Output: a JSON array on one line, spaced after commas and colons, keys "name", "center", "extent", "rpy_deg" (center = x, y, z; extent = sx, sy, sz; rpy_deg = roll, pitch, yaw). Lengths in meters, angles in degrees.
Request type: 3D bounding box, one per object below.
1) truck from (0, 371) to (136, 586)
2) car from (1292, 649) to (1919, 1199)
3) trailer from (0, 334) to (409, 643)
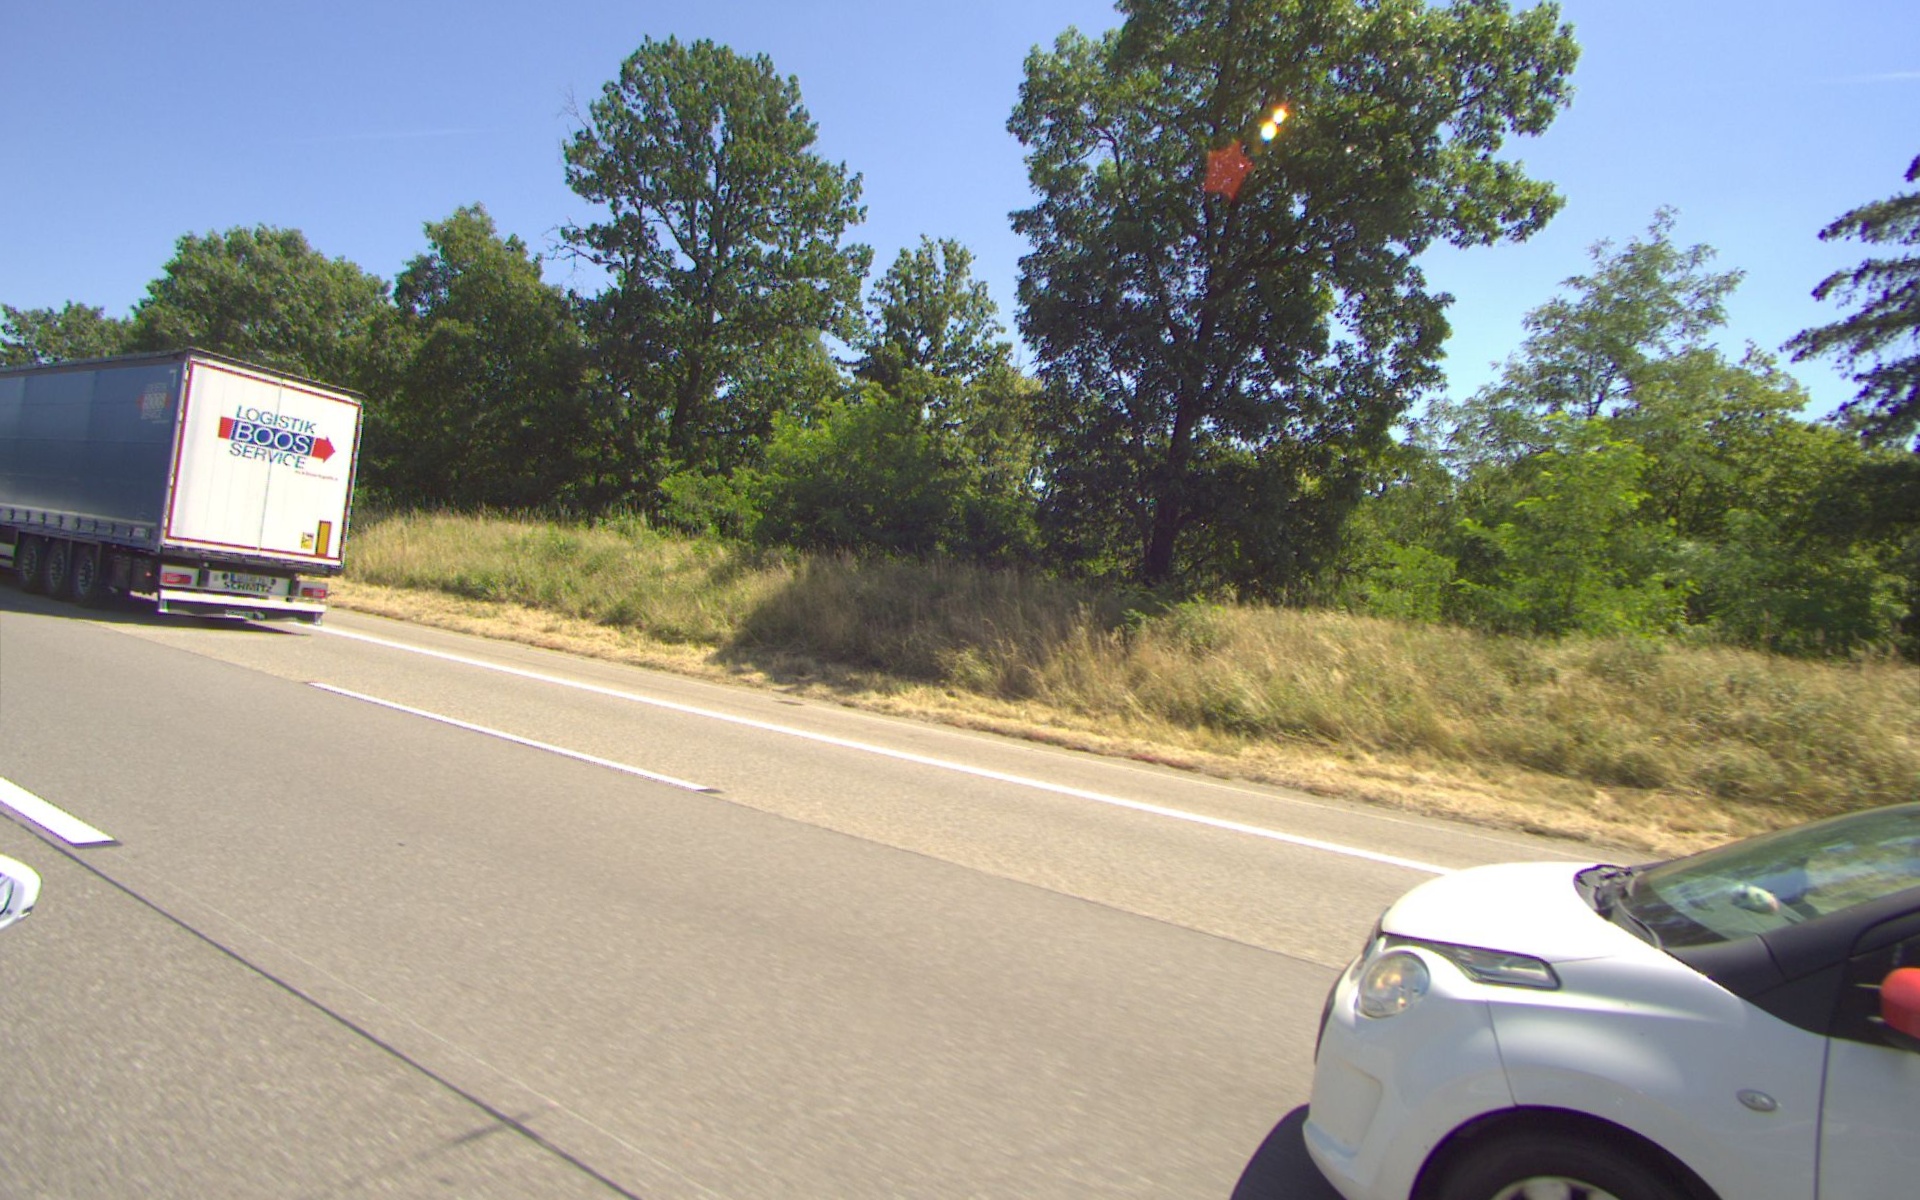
[{"name": "truck", "center": [-22.527, -2.872, 23.227], "extent": [5.908, 4.268, 3.293], "rpy_deg": [6, -2, 31]}, {"name": "car", "center": [2.985, 1.142, 2.133], "extent": [3.957, 1.513, 1.711], "rpy_deg": [7, -1, 32]}, {"name": "trailer", "center": [-16.225, -2.153, 19.344], "extent": [13.340, 4.268, 3.292], "rpy_deg": [6, -2, 31]}]
